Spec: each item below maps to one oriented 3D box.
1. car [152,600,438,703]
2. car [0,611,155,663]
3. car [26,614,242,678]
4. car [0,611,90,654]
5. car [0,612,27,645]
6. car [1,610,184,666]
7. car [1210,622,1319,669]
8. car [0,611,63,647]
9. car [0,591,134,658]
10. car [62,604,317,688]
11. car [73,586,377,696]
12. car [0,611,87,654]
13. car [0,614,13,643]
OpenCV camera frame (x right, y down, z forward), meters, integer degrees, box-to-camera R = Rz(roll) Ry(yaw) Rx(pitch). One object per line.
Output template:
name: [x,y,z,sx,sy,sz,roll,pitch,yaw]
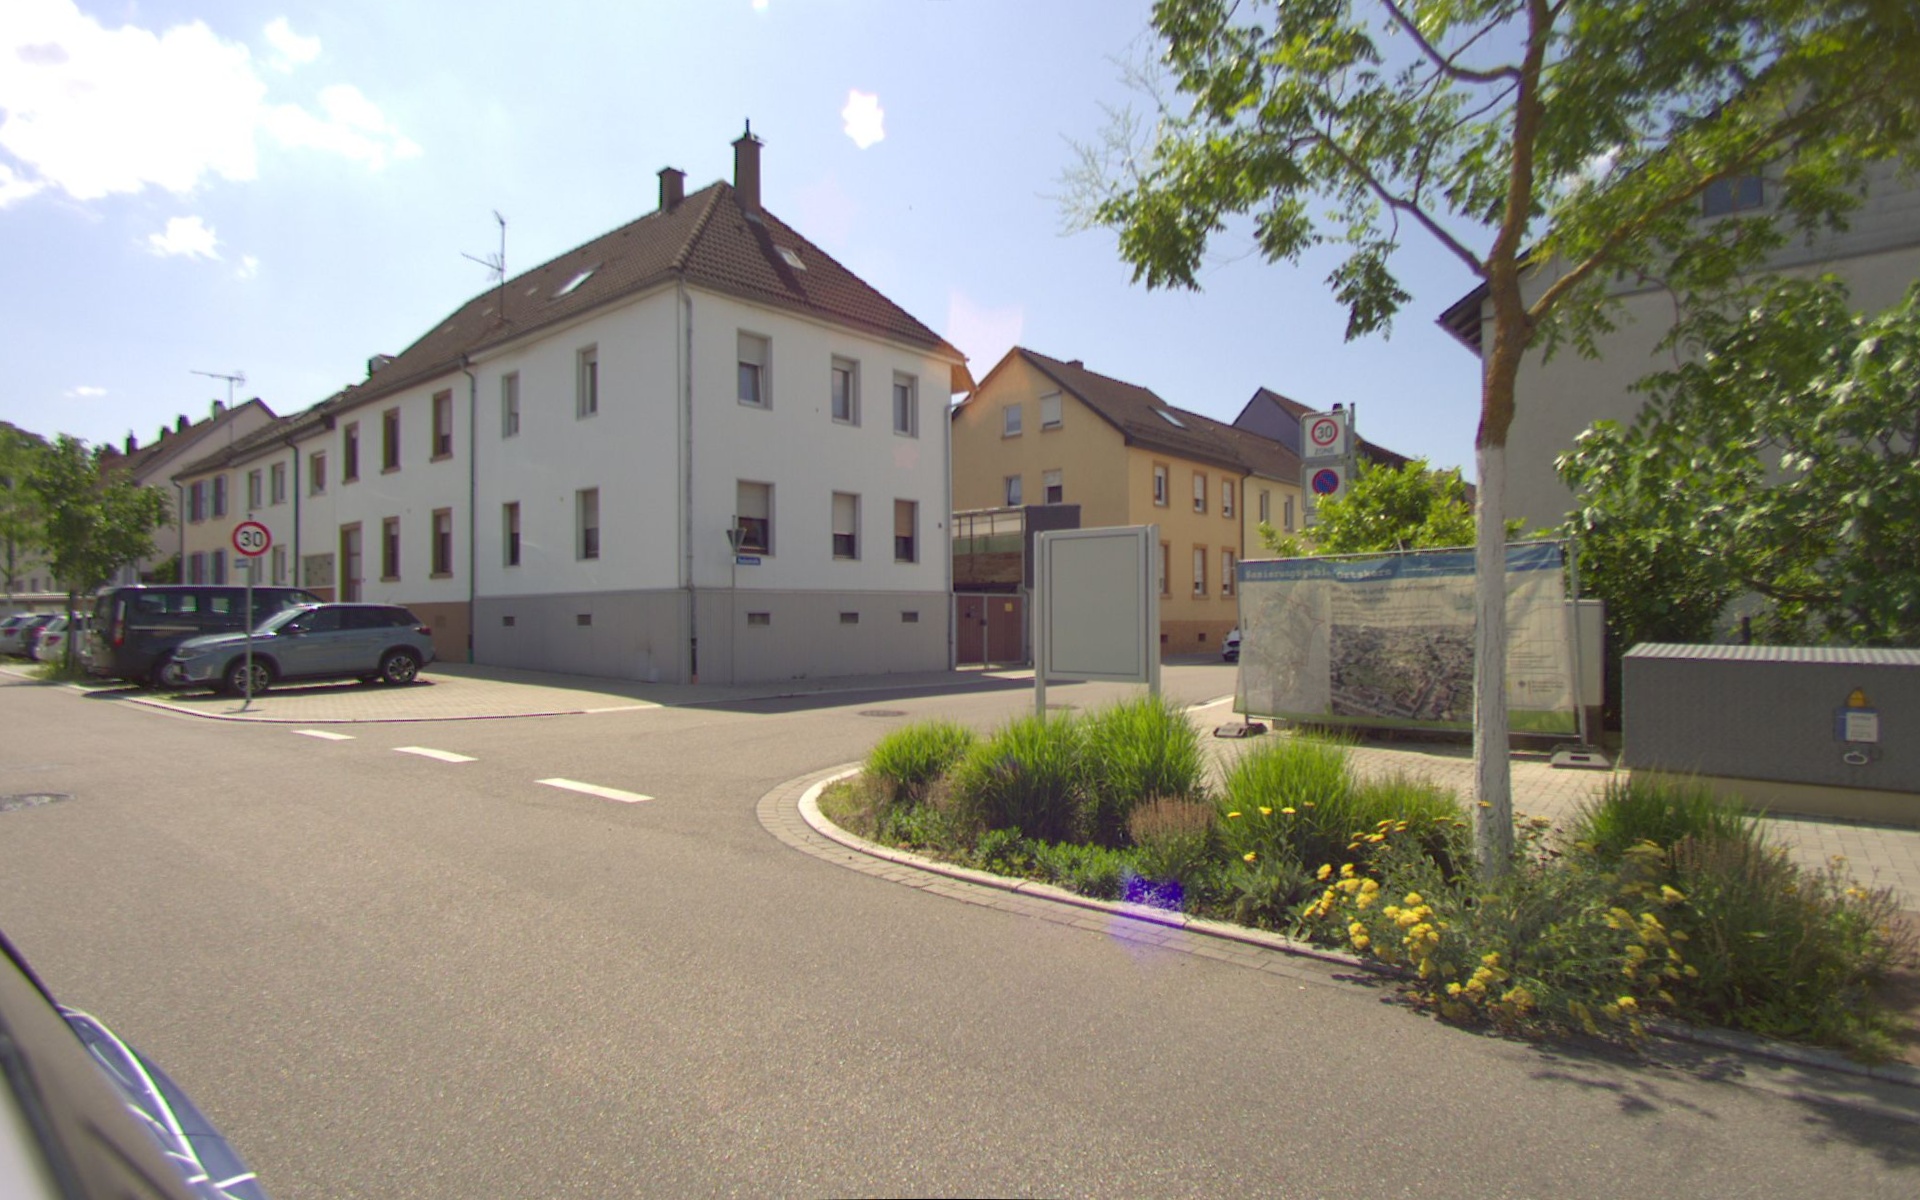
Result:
car: [-12.276,0.847,18.915,1.770,1.631,4.134,0,1,39]
car: [-28.319,1.129,32.093,1.747,1.479,4.042,-1,0,31]
car: [-21.975,1.151,27.048,1.773,1.479,4.251,0,1,41]
car: [-37.610,1.299,40.301,1.840,1.623,4.212,-1,0,38]
car: [-45.094,1.321,45.742,1.772,1.489,4.017,-1,0,36]
car: [-25.962,1.079,30.413,1.653,1.479,3.851,0,0,31]
car: [9.791,1.430,32.398,1.890,1.313,3.946,-3,-2,40]
car: [-42.432,1.293,44.392,1.772,1.489,4.365,-1,0,35]
car: [-31.712,0.810,35.091,1.923,2.193,4.464,-1,0,39]
car: [-16.911,0.926,22.402,1.770,1.580,4.147,0,1,35]
car: [-14.763,0.712,20.583,1.936,1.937,4.654,0,1,39]
car: [-33.853,1.160,36.011,1.753,1.470,3.970,-1,0,39]
car: [-48.260,1.412,48.157,1.794,1.436,4.480,-1,0,39]
